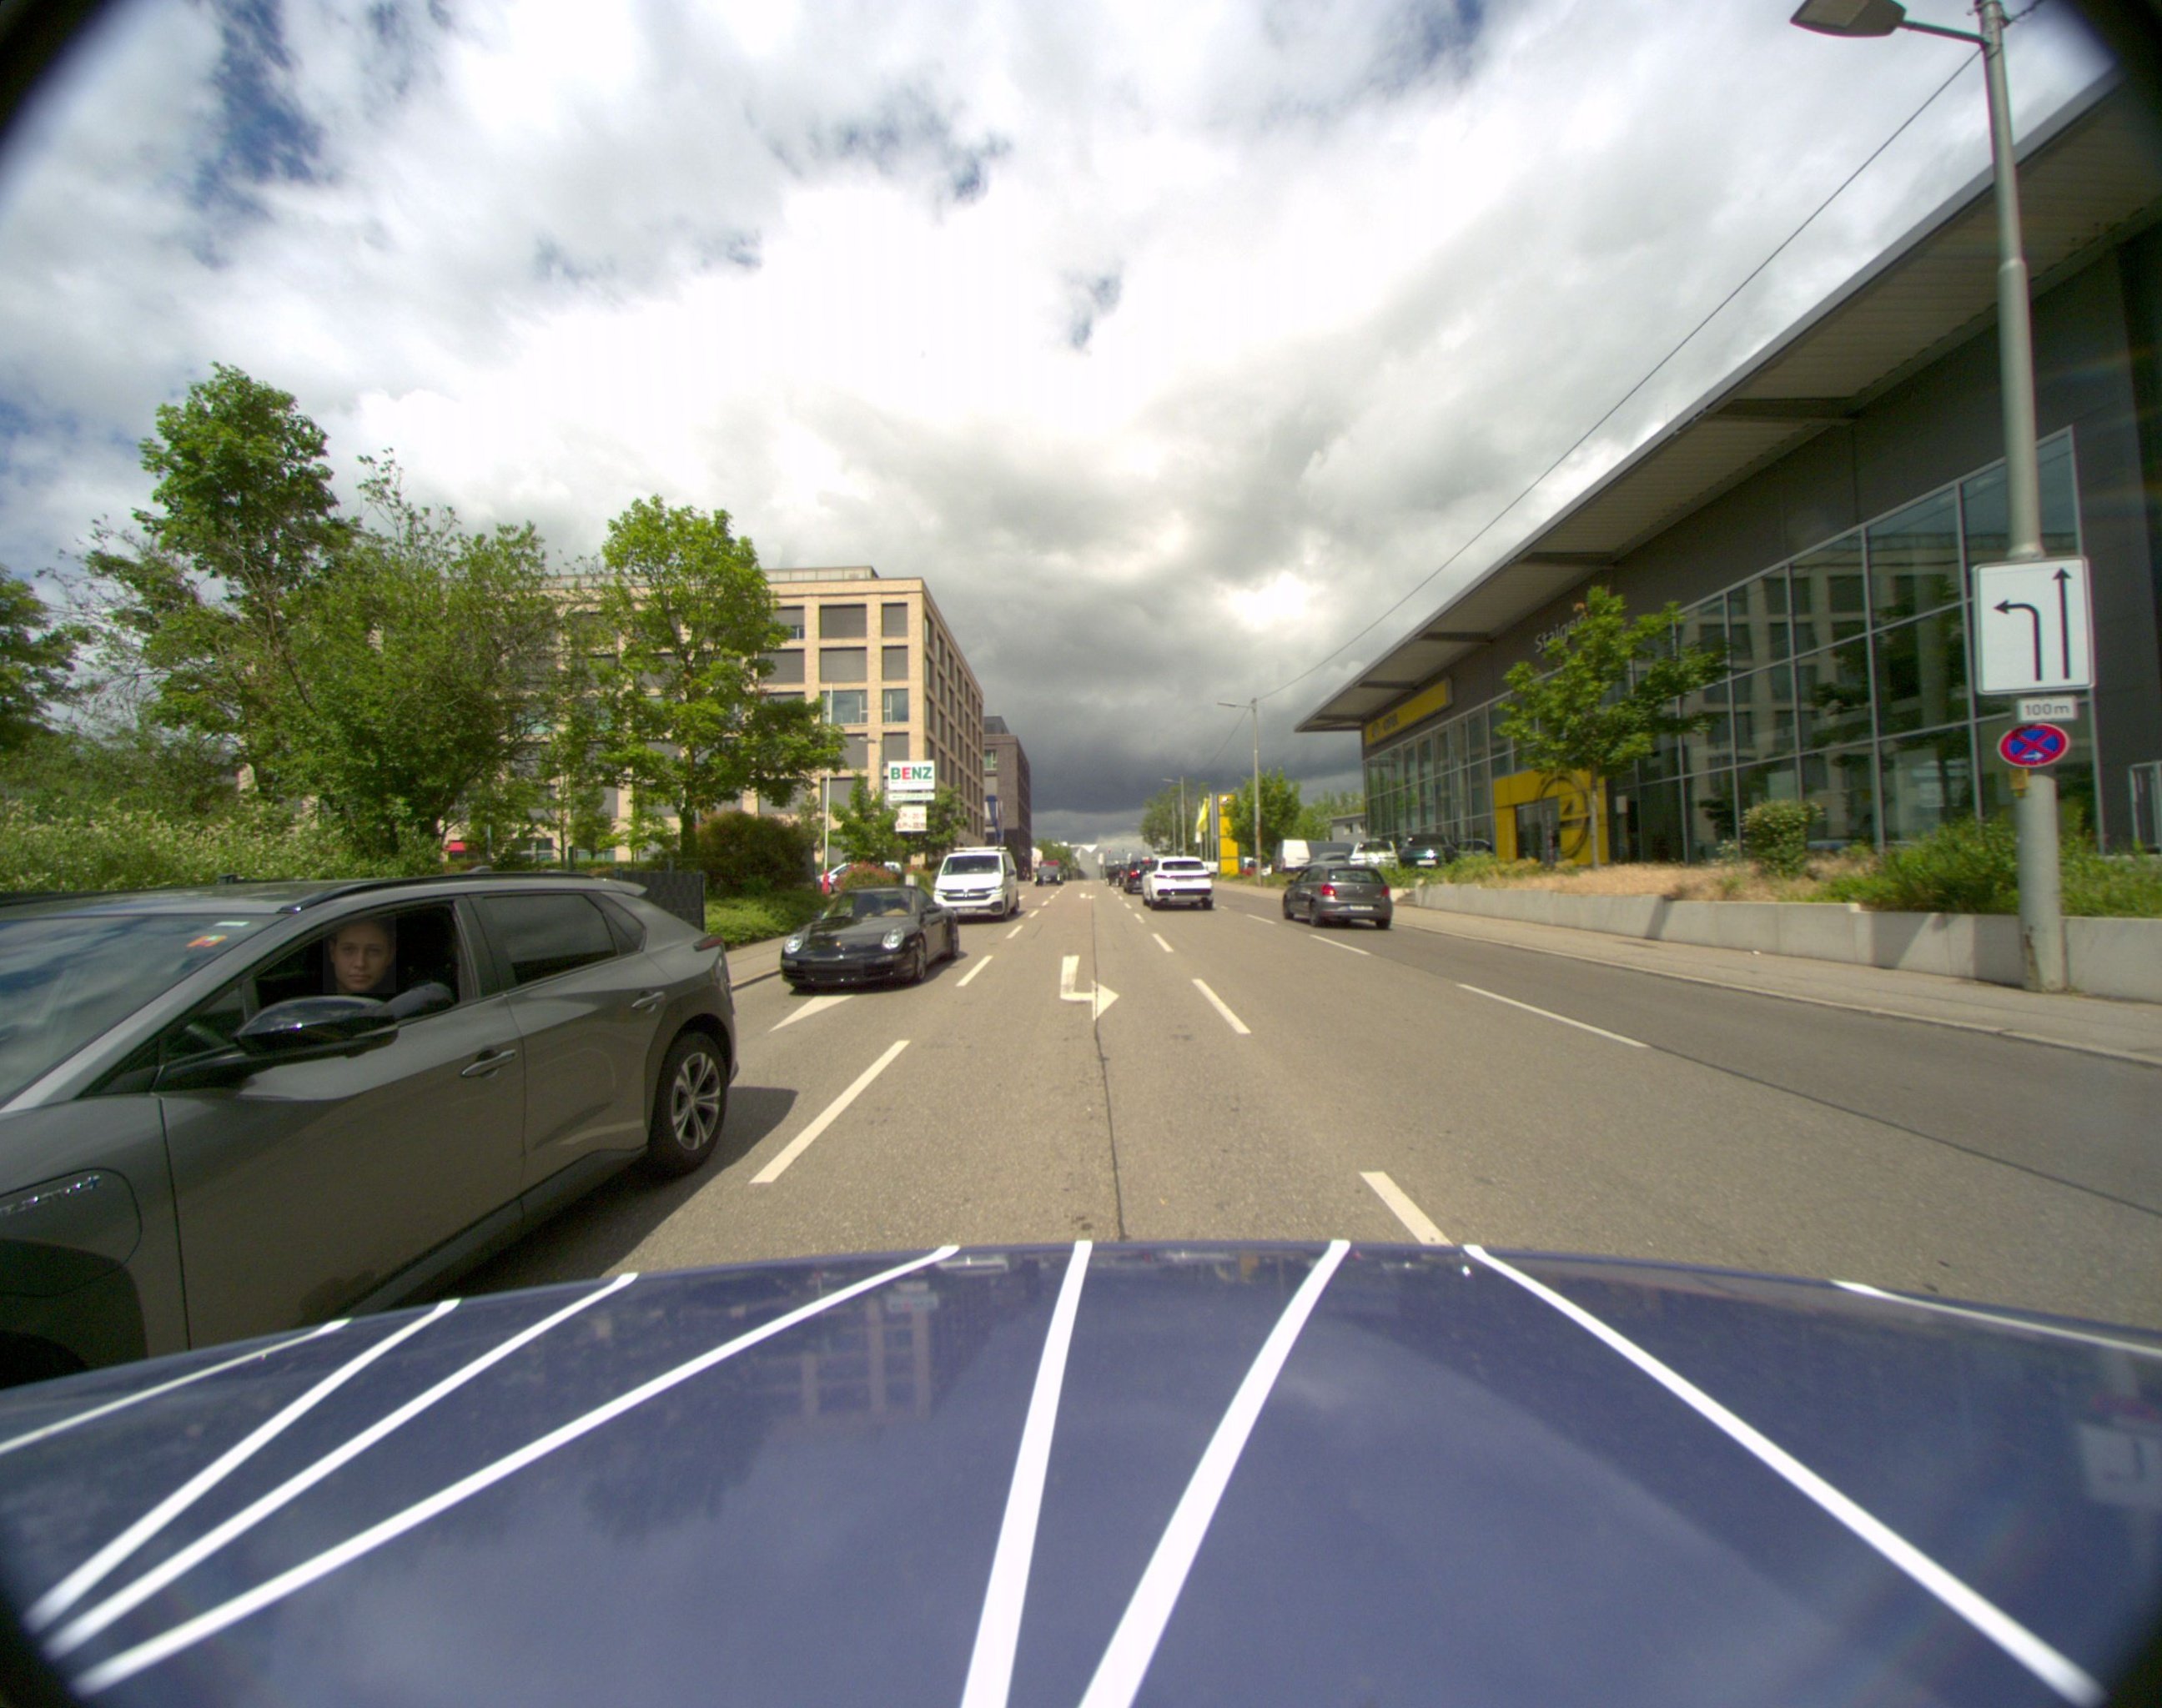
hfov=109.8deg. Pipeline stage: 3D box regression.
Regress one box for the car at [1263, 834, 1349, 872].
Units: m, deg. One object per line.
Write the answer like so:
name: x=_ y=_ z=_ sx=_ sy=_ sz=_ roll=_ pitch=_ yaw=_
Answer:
car: x=13.512 y=-0.047 z=45.817 sx=4.531 sy=2.182 sz=2.179 roll=-1 pitch=1 yaw=-1

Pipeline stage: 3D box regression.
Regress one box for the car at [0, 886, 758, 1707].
car: x=-2.981 y=1.028 z=2.264 sx=1.924 sy=1.604 sz=4.683 roll=-3 pitch=0 yaw=1

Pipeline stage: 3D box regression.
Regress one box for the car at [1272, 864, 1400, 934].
car: x=5.832 y=0.973 z=17.826 sx=1.763 sy=1.405 sz=3.734 roll=1 pitch=0 yaw=1

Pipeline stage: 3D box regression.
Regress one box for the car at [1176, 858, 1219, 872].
car: x=12.576 y=1.186 z=82.350 sx=4.252 sy=1.473 sz=2.095 roll=-1 pitch=0 yaw=-2

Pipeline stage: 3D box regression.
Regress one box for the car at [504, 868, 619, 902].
car: x=-23.156 y=1.373 z=33.939 sx=3.997 sy=1.401 sz=1.600 roll=-1 pitch=0 yaw=-1

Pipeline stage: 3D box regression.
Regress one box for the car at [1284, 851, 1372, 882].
car: x=13.293 y=0.667 z=40.976 sx=4.108 sy=1.604 sz=1.797 roll=-1 pitch=0 yaw=-8

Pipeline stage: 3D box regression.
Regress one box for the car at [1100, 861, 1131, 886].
car: x=2.175 y=1.202 z=48.726 sx=1.731 sy=1.494 sz=3.438 roll=-1 pitch=0 yaw=-1

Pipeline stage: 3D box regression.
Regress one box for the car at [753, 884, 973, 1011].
car: x=-2.914 y=1.199 z=11.296 sx=1.777 sy=1.267 sz=4.569 roll=-3 pitch=0 yaw=2

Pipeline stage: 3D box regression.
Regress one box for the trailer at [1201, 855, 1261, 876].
trailer: x=13.096 y=0.968 z=66.647 sx=4.835 sy=1.742 sz=2.095 roll=-1 pitch=0 yaw=-3

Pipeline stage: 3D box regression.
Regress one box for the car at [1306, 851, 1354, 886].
car: x=12.192 y=0.674 z=37.070 sx=1.794 sy=1.604 sz=4.116 roll=-1 pitch=0 yaw=24

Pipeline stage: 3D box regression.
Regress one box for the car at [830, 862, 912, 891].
car: x=-11.913 y=1.284 z=43.353 sx=4.220 sy=1.567 sz=1.735 roll=-1 pitch=0 yaw=-4

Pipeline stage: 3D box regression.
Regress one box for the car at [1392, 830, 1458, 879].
car: x=12.276 y=0.025 z=26.989 sx=1.817 sy=1.604 sz=4.117 roll=-1 pitch=0 yaw=29

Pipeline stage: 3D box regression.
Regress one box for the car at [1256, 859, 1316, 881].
car: x=14.911 y=1.152 z=55.331 sx=3.946 sy=1.518 sz=1.561 roll=-1 pitch=0 yaw=-2

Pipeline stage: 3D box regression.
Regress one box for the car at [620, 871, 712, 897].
car: x=-23.421 y=1.676 z=42.987 sx=4.219 sy=1.410 sz=1.735 roll=-1 pitch=0 yaw=-1

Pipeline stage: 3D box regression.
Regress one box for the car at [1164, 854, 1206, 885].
car: x=6.519 y=0.936 z=48.006 sx=1.924 sy=1.848 sz=5.199 roll=1 pitch=0 yaw=0

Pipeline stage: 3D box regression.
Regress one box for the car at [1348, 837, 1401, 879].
car: x=12.258 y=0.149 z=31.597 sx=1.793 sy=1.604 sz=4.116 roll=-1 pitch=0 yaw=25

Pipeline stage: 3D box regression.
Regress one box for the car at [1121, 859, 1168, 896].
car: x=2.988 y=1.067 z=36.369 sx=1.797 sy=1.604 sz=4.108 roll=-1 pitch=0 yaw=-1

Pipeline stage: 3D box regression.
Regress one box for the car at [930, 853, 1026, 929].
car: x=-2.799 y=0.960 z=21.659 sx=1.964 sy=1.840 sz=4.645 roll=-3 pitch=0 yaw=1

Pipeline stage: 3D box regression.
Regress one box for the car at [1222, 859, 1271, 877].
car: x=13.654 y=1.130 z=62.759 sx=3.669 sy=1.401 sz=1.815 roll=-1 pitch=0 yaw=2

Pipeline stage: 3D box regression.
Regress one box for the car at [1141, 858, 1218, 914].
car: x=3.044 y=0.944 z=24.440 sx=1.924 sy=1.604 sz=4.416 roll=-1 pitch=0 yaw=1

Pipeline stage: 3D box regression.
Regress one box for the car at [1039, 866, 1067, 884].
car: x=-2.070 y=1.533 z=57.075 sx=1.777 sy=1.267 sz=4.569 roll=-1 pitch=0 yaw=2
